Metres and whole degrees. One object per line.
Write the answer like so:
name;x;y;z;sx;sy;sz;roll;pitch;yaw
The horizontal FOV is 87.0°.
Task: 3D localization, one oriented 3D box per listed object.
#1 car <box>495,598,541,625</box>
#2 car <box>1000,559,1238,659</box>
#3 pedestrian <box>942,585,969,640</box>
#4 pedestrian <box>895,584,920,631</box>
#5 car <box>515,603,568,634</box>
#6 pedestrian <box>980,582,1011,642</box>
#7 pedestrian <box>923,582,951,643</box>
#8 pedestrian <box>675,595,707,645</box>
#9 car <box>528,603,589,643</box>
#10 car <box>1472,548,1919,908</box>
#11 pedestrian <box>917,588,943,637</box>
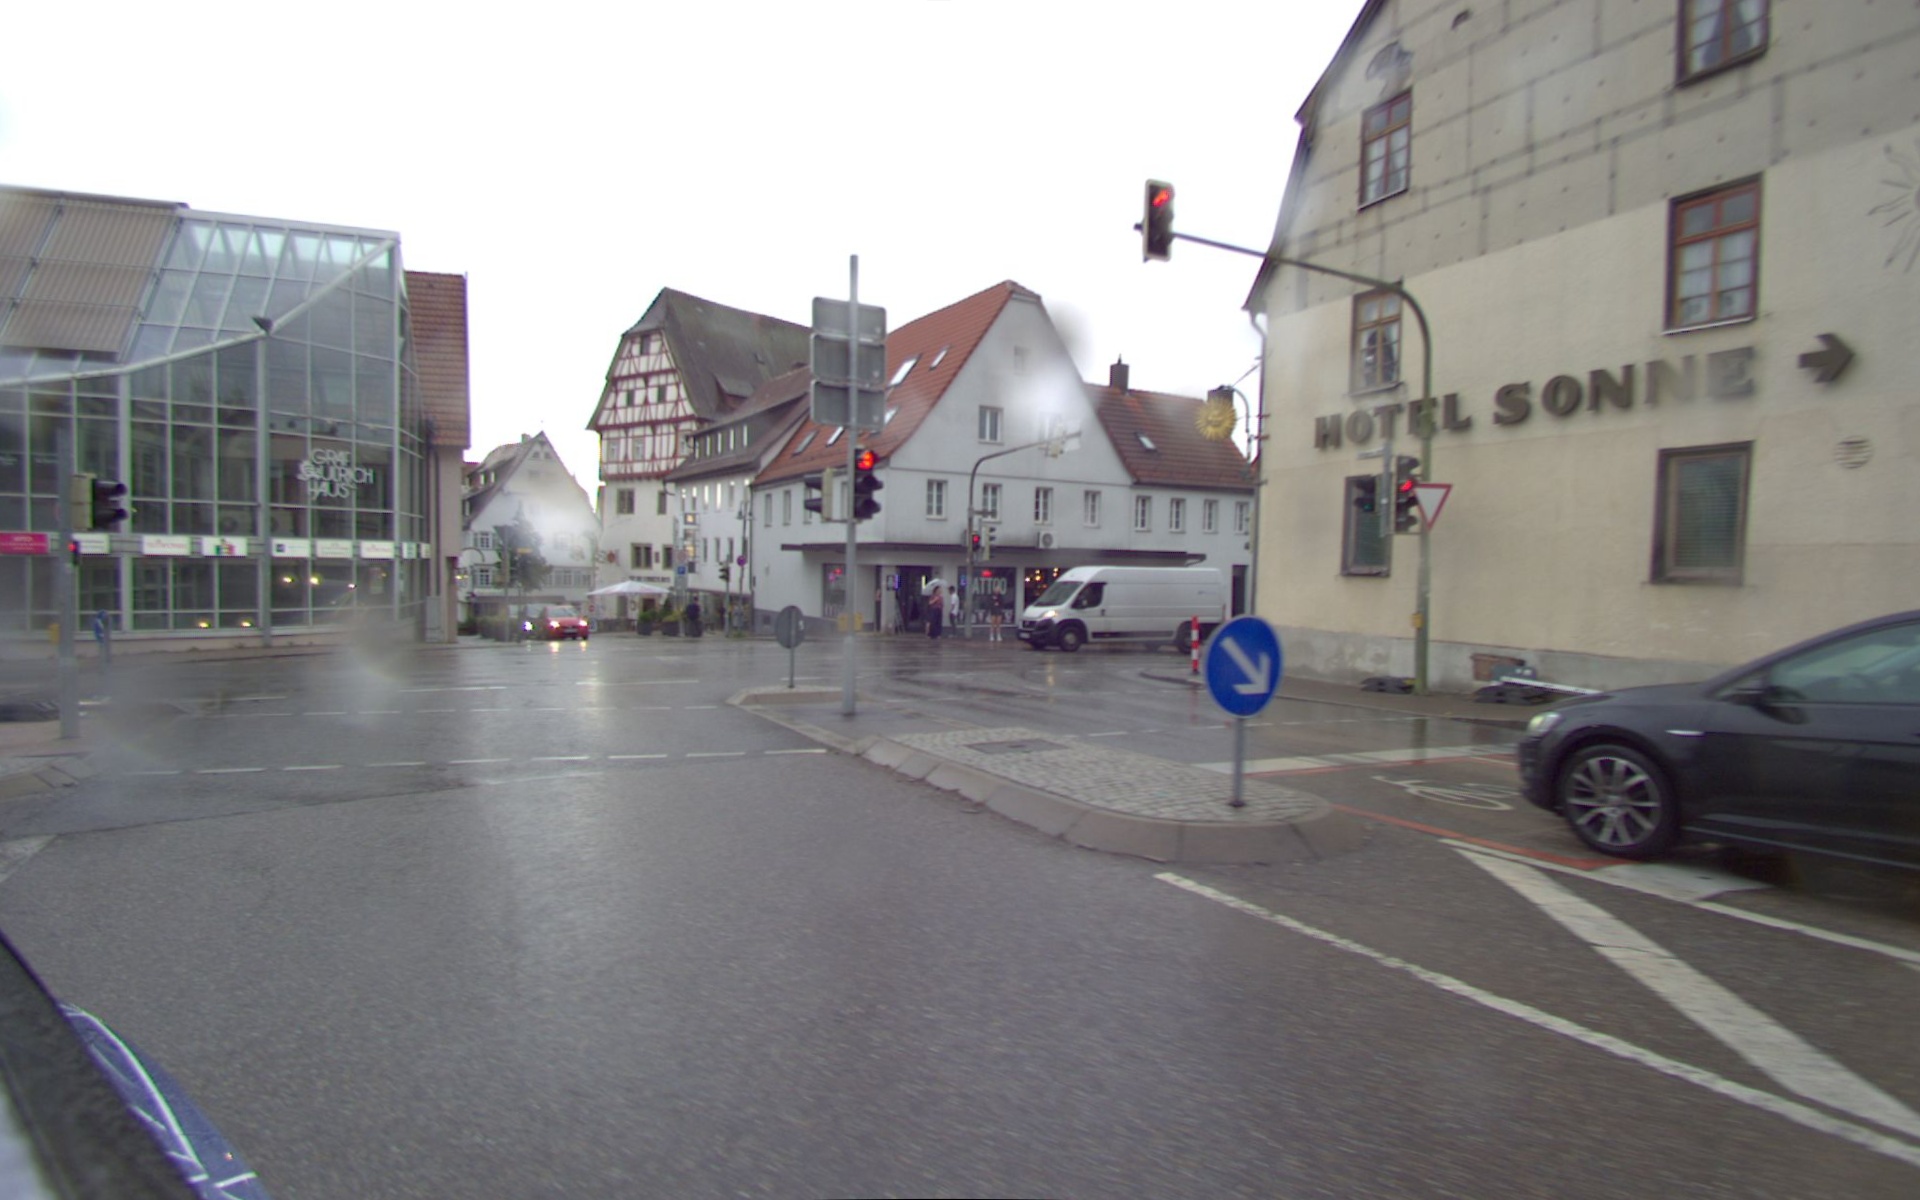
car;-23.011;0.567;52.585;1.715;1.298;3.241;-3;1;-31
car;4.696;0.216;29.877;6.444;2.646;2.604;-2;0;-21
pedestrian;-0.156;0.416;33.497;0.623;1.787;0.596;-2;1;-29
pedestrian;-1.809;0.245;34.829;0.623;1.571;0.596;-2;1;-29
car;-19.411;0.810;46.902;1.715;1.298;3.241;-3;1;-31
pedestrian;1.137;0.392;32.491;0.735;1.881;0.607;-2;1;-29
pedestrian;-0.723;0.374;31.914;0.623;1.885;0.538;-2;1;-29
pedestrian;-10.756;0.787;40.529;0.972;1.952;0.783;-2;1;6
car;-16.806;0.931;42.266;1.715;1.518;3.694;-3;1;-31
car;4.875;0.568;4.586;1.748;1.516;4.330;2;-1;-27
pedestrian;-0.987;0.417;33.361;0.623;1.571;0.596;-2;1;-29
